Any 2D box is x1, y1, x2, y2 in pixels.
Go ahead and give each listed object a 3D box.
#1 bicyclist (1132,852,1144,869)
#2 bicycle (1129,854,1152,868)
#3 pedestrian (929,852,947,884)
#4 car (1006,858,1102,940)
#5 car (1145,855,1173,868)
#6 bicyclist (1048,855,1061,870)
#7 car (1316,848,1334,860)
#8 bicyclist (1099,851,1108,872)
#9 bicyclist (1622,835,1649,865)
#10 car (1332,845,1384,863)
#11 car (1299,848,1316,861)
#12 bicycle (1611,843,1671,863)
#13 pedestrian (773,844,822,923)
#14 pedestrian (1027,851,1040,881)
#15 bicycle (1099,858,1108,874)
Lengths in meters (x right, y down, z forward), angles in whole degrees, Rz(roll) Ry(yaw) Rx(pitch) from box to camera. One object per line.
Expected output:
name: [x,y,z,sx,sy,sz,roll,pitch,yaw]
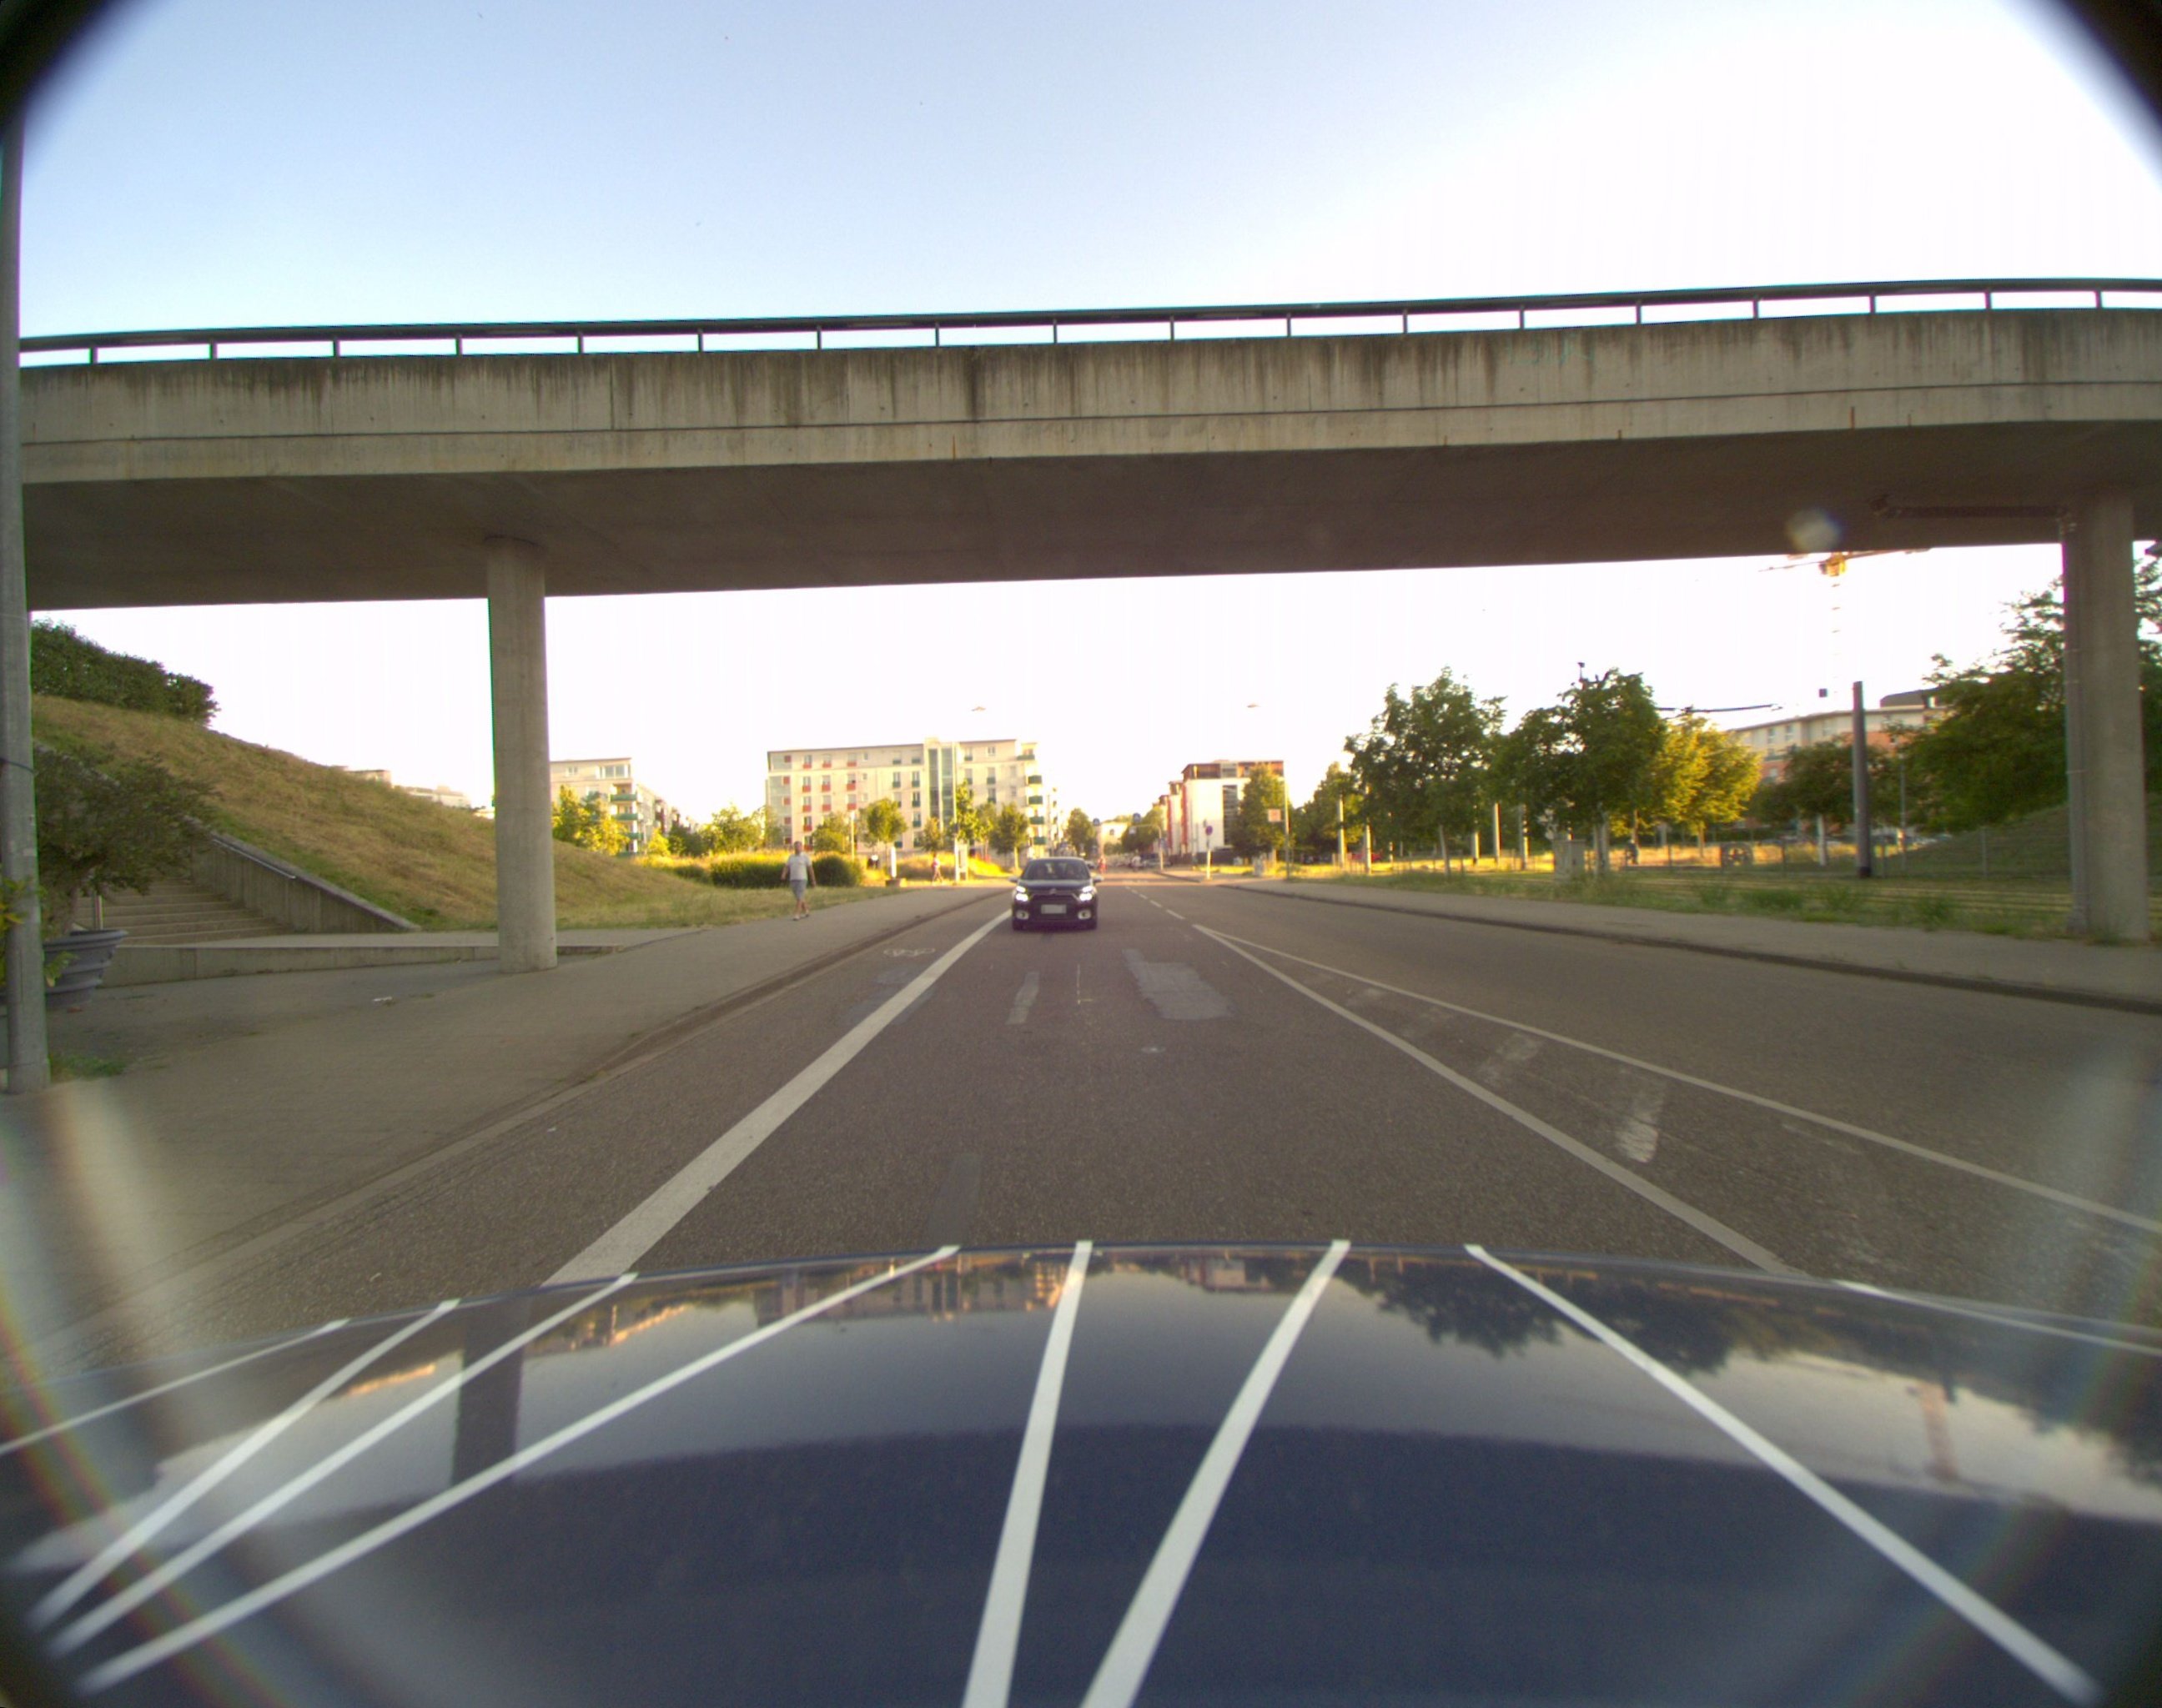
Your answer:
bicyclist: [6.227,0.714,82.718,0.881,1.865,1.036,-1,1,37]
bicycle: [6.523,0.736,83.146,0.885,1.483,3.328,-2,0,37]
pedestrian: [-7.241,0.702,38.542,0.737,1.620,0.859,0,0,2]
car: [-0.477,0.843,16.135,1.739,1.455,4.000,-2,0,1]
car: [11.722,1.095,113.981,3.996,1.718,2.000,-2,0,2]
bicyclist: [-2.940,0.934,84.170,0.934,1.585,1.065,-2,0,-31]
car: [31.059,-0.013,96.764,1.942,1.521,4.004,-2,0,14]
bicyclist: [1.841,0.621,62.179,0.697,1.630,0.852,-2,0,4]
bicyclist: [30.176,-0.206,41.332,0.910,1.622,0.717,-2,0,-5]
car: [33.038,-0.014,90.788,5.518,2.002,2.001,-2,0,10]
car: [28.948,0.051,97.143,1.942,1.521,4.004,-2,0,14]
bicycle: [30.442,-0.057,41.341,2.842,1.002,0.655,-2,0,-3]
pedestrian: [-6.313,0.645,16.929,0.737,1.714,0.906,0,0,1]
pedestrian: [-2.748,0.692,43.876,0.737,1.714,0.532,0,0,1]
bicycle: [1.840,0.981,62.093,0.662,1.217,2.440,-2,0,4]
